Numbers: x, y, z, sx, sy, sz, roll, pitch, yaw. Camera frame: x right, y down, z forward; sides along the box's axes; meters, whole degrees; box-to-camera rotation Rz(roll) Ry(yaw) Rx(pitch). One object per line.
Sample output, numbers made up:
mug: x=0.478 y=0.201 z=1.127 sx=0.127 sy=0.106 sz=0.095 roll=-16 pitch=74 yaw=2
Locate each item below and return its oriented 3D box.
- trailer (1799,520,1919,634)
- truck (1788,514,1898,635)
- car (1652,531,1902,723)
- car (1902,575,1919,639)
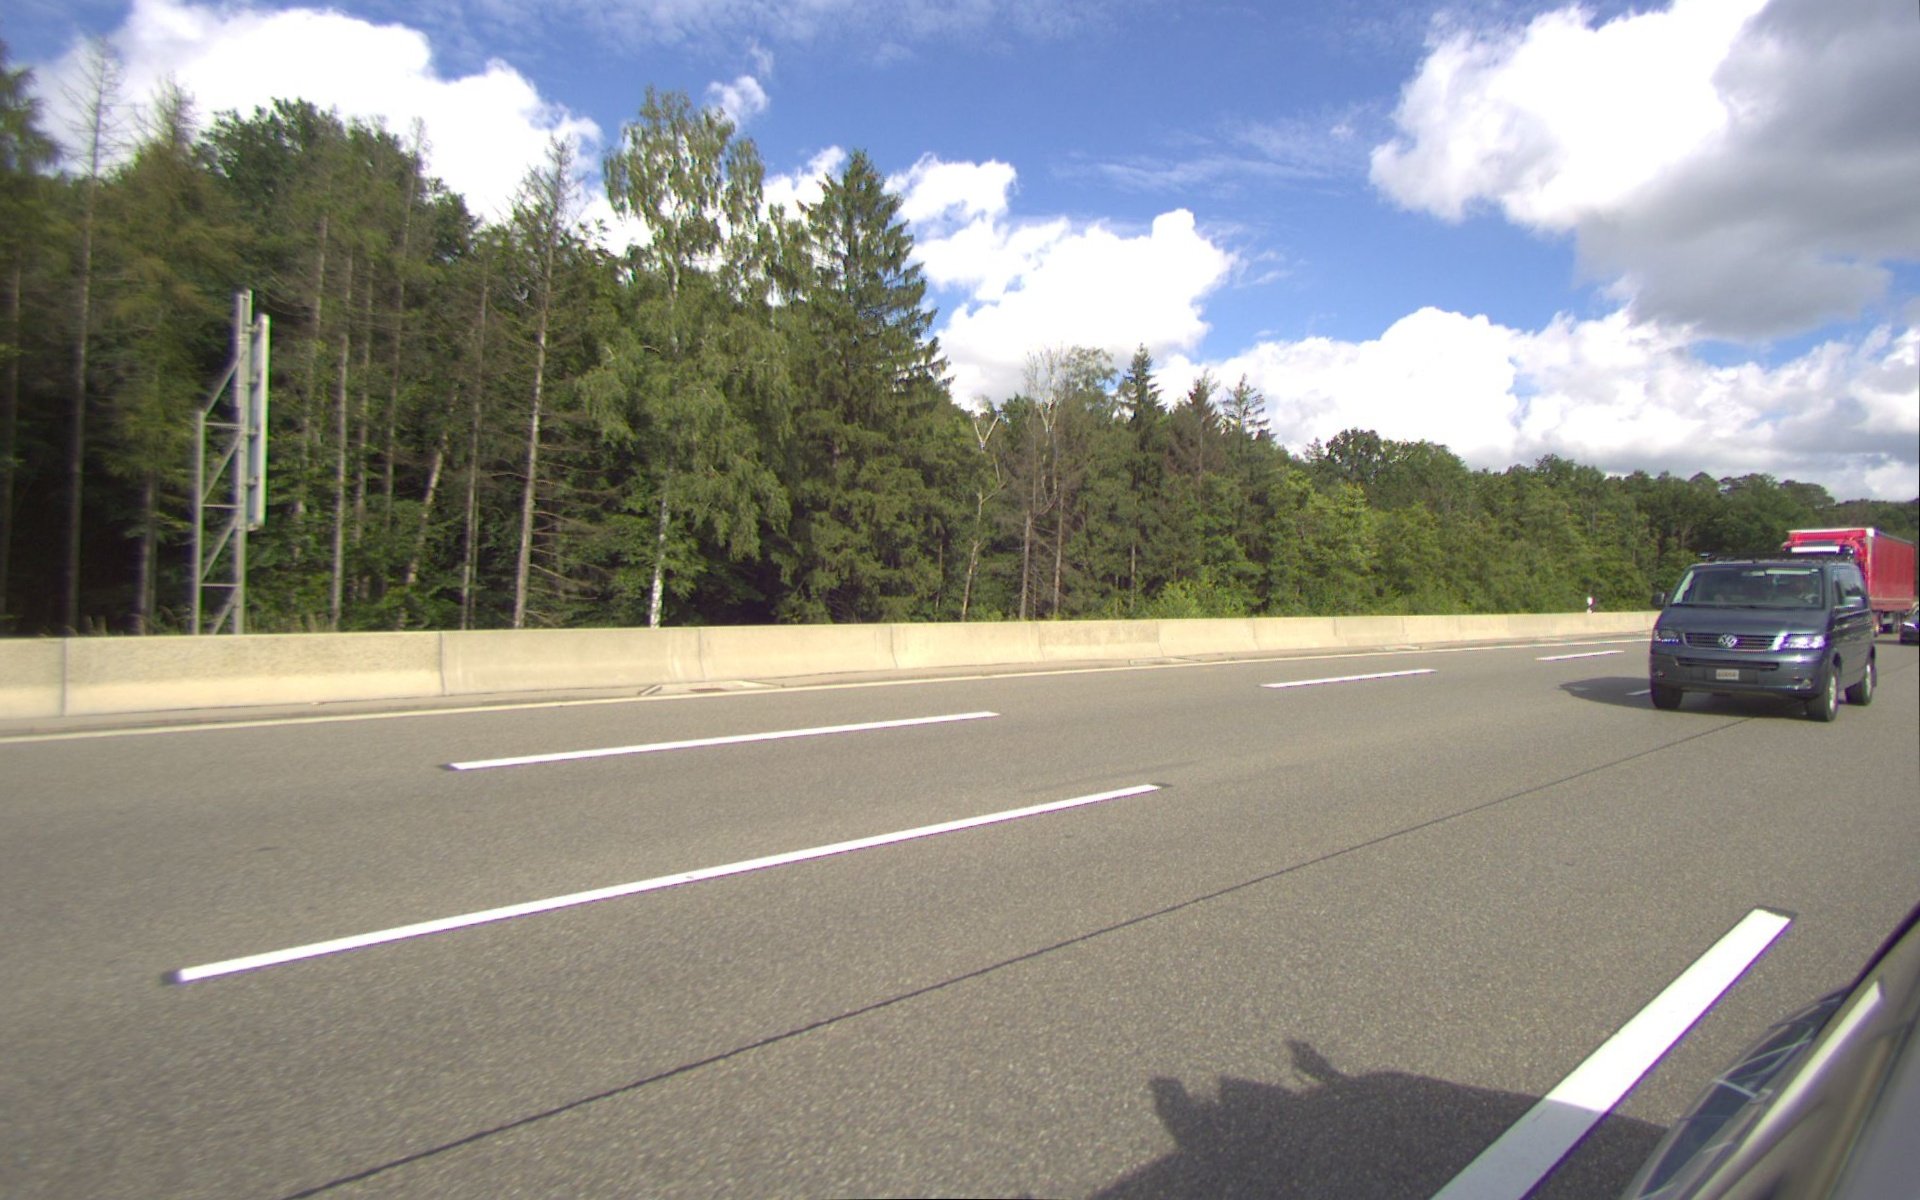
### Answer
trailer: x=38.476 y=-0.960 z=42.696 sx=14.128 sy=4.171 sz=2.529 roll=-1 pitch=1 yaw=-41
truck: x=33.241 y=-0.958 z=38.072 sx=4.573 sy=4.255 sz=2.530 roll=-1 pitch=1 yaw=-41
car: x=11.341 y=0.283 z=13.907 sx=4.876 sy=2.193 sz=1.925 roll=0 pitch=1 yaw=-42
car: x=32.426 y=0.225 z=33.025 sx=3.929 sy=2.039 sz=1.997 roll=0 pitch=0 yaw=-40
